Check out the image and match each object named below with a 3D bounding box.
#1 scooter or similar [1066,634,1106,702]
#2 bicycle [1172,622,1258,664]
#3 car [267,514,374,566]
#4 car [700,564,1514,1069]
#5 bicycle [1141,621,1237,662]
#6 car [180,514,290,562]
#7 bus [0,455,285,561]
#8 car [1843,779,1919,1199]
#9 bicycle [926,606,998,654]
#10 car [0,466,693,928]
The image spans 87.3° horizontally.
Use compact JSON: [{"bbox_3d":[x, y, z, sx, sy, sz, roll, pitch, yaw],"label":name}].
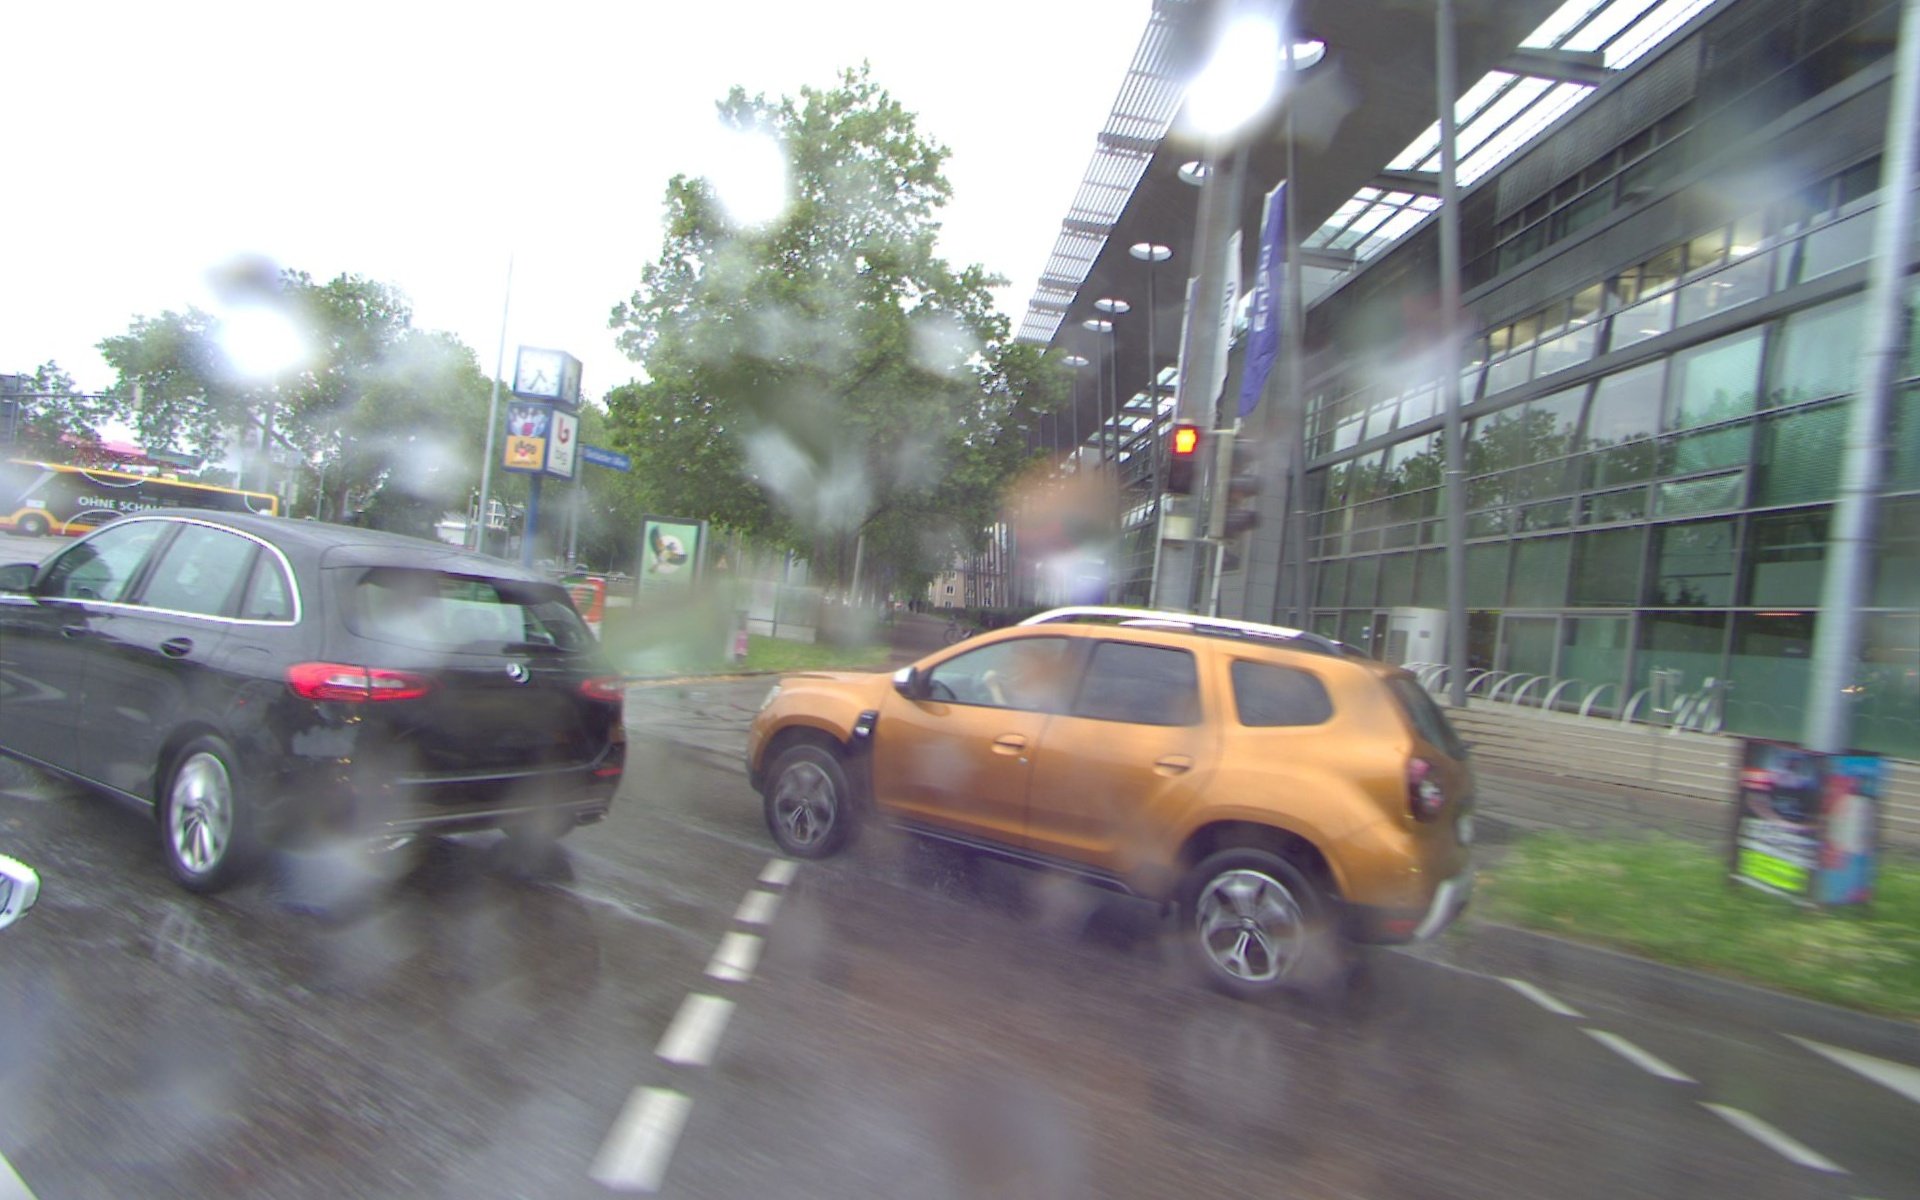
[{"bbox_3d":[2.335,1.256,18.785,0.335,1.153,1.173,6,1,-7],"label":"scooter or similar"},{"bbox_3d":[10.939,1.853,43.129,3.655,1.348,1.183,7,0,-30],"label":"bicycle"},{"bbox_3d":[-29.801,-2.740,47.083,2.041,1.871,4.743,7,0,-4],"label":"car"},{"bbox_3d":[0.735,0.876,5.809,4.101,1.652,1.902,7,0,32],"label":"car"},{"bbox_3d":[10.269,1.847,45.176,3.932,1.348,1.190,7,0,-9],"label":"bicycle"},{"bbox_3d":[-32.406,-2.732,45.145,1.899,1.671,4.338,7,0,-5],"label":"car"},{"bbox_3d":[-38.669,-4.175,46.306,3.220,3.308,12.266,7,0,31],"label":"bus"},{"bbox_3d":[3.421,1.257,0.844,3.692,1.414,1.839,7,-2,32],"label":"car"},{"bbox_3d":[0.056,1.079,37.105,2.637,1.459,0.803,6,-2,43],"label":"bicycle"},{"bbox_3d":[-3.663,0.258,5.385,4.016,1.542,1.874,7,0,29],"label":"car"}]
